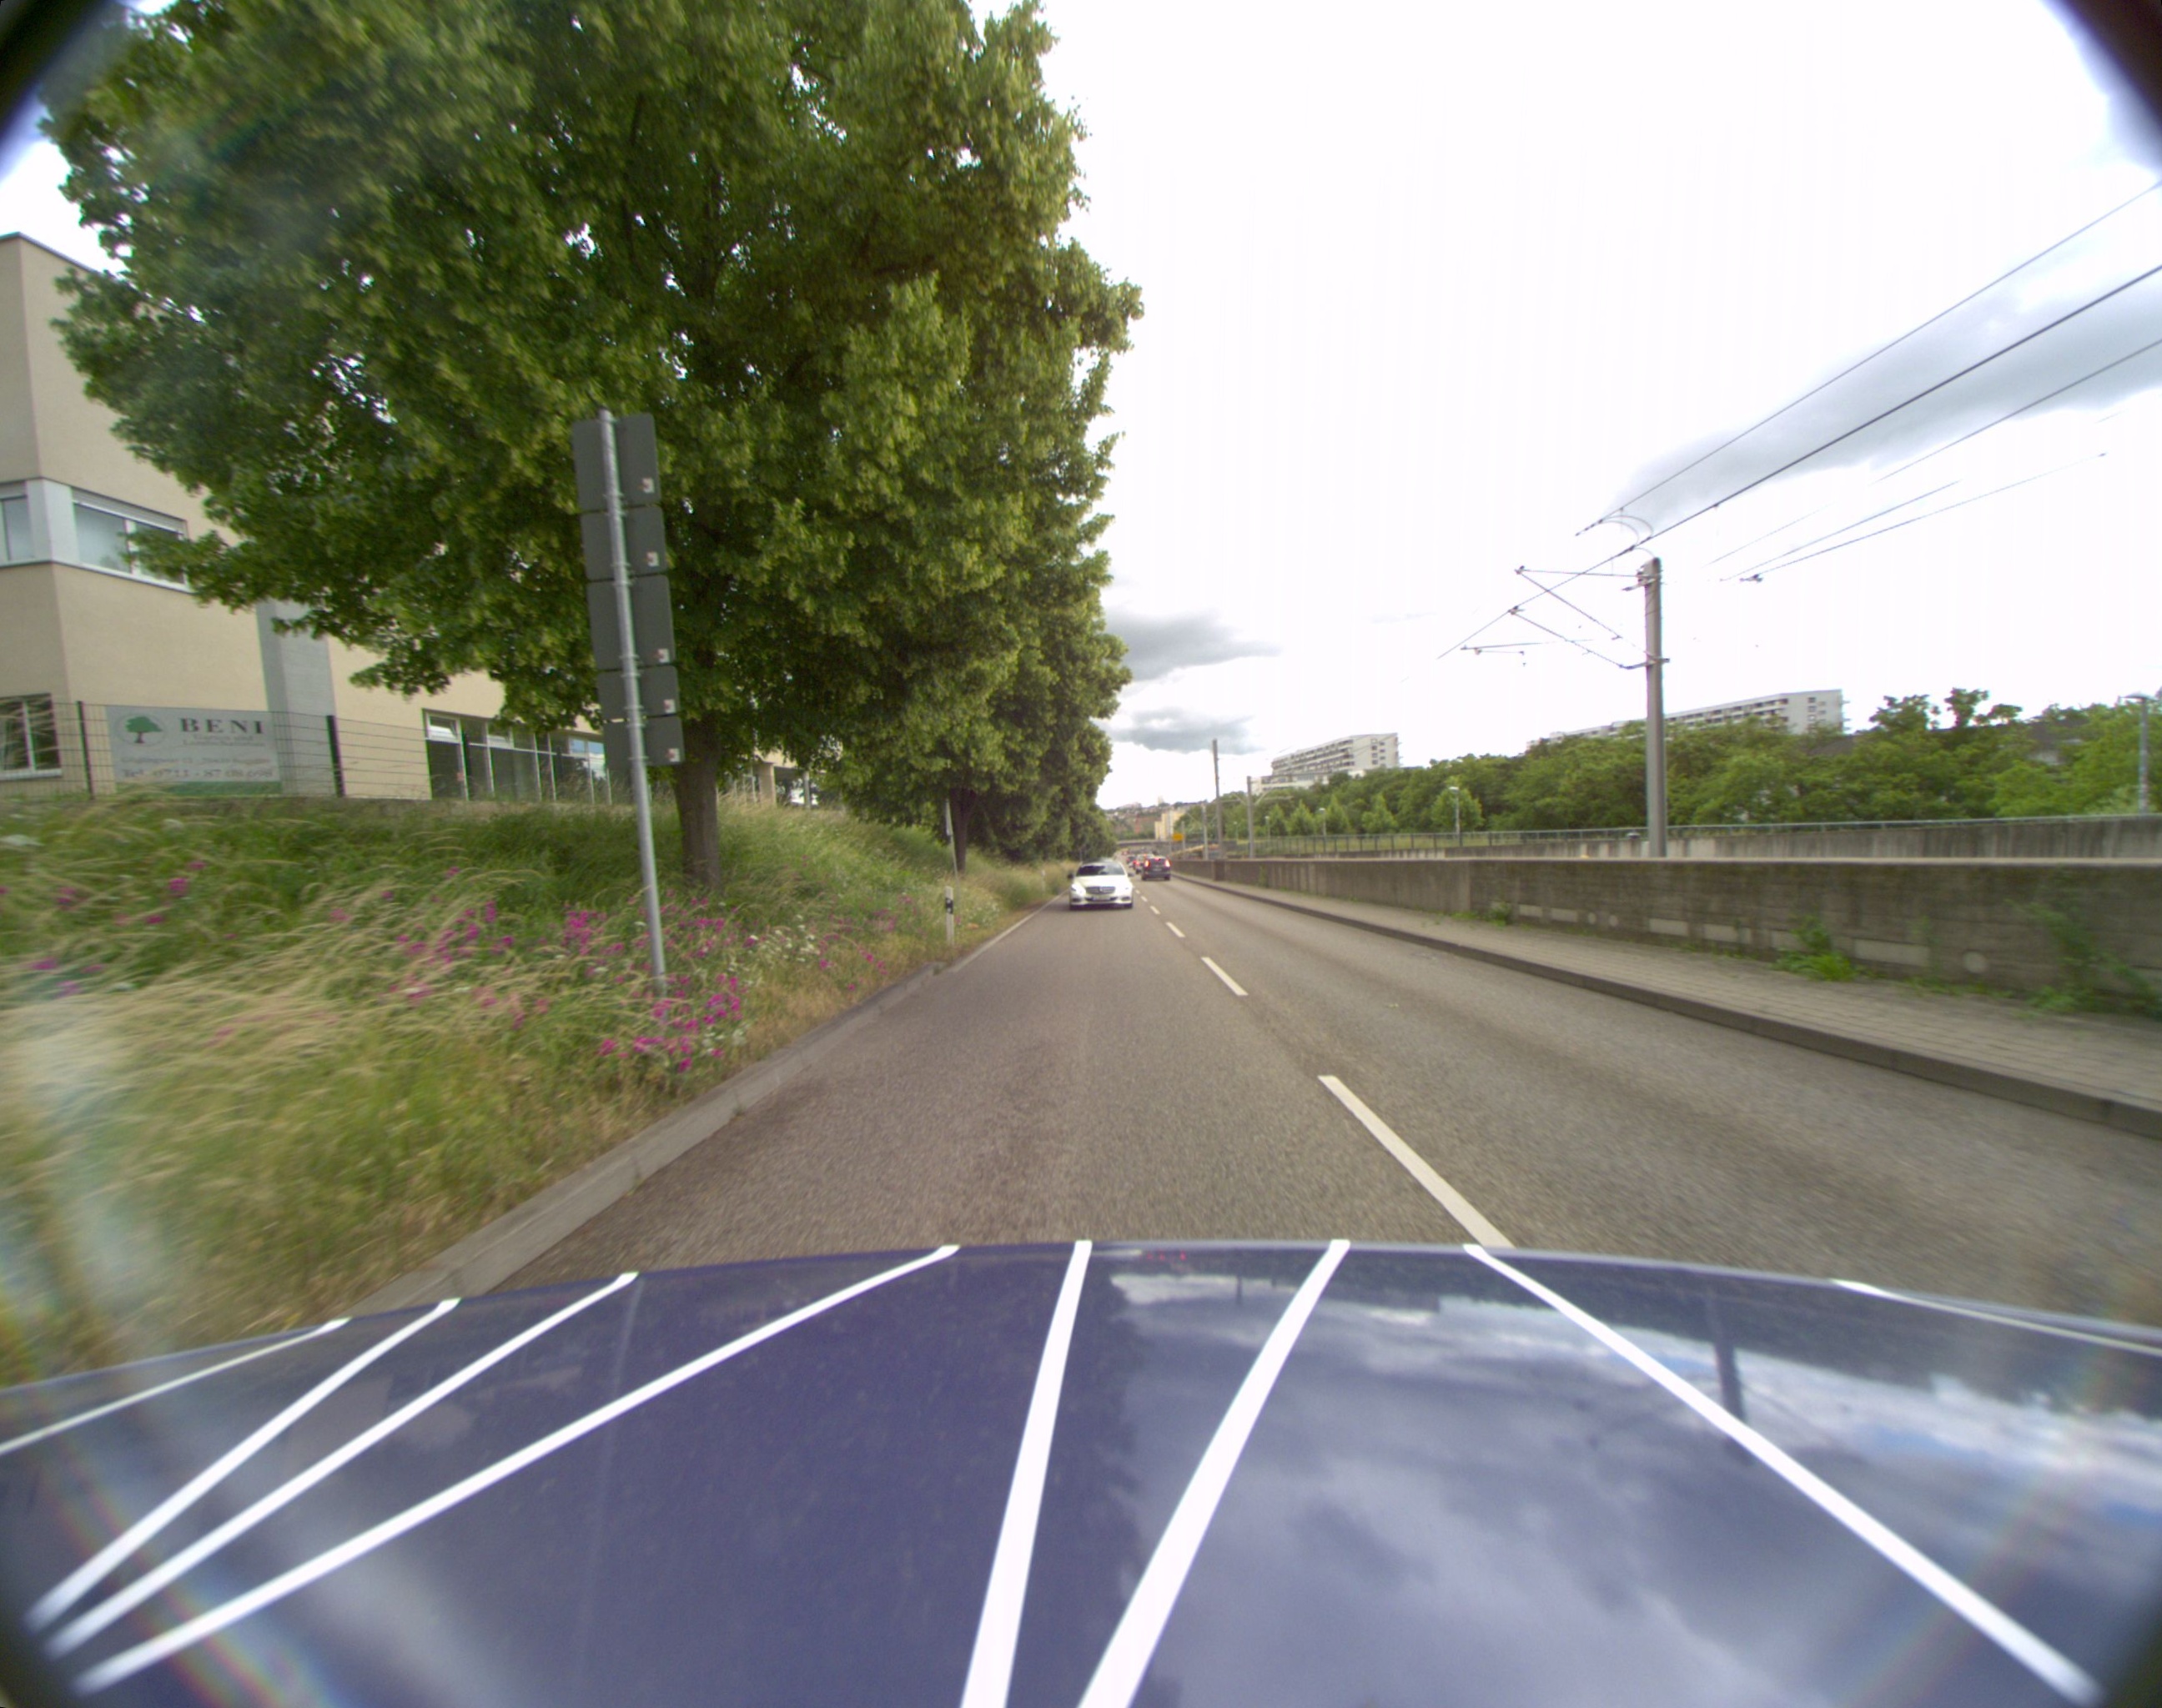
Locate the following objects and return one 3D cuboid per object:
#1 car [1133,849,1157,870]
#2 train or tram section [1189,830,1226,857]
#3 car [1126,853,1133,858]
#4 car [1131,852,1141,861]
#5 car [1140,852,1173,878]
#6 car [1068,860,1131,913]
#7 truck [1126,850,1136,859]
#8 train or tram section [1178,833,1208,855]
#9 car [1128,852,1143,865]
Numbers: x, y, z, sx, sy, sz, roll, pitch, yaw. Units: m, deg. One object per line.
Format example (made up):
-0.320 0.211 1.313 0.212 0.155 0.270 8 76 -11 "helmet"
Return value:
6.141 0.503 73.042 1.901 1.823 4.905 -3 1 1 "car"
16.986 -1.384 103.569 2.787 3.175 18.476 -2 1 3 "train or tram section"
15.211 0.490 239.671 1.998 1.630 4.000 -3 1 3 "car"
8.926 0.408 124.170 1.598 1.531 2.697 -1 0 4 "car"
5.003 0.698 50.846 1.827 1.647 4.246 -2 0 1 "car"
0.634 0.932 23.517 1.739 1.366 4.000 -2 1 3 "car"
13.144 0.097 200.291 2.455 2.412 8.212 -2 1 3 "truck"
17.868 -1.582 122.029 2.787 3.175 18.475 -2 1 3 "train or tram section"
7.295 0.584 101.390 1.781 1.677 4.066 -2 0 2 "car"
